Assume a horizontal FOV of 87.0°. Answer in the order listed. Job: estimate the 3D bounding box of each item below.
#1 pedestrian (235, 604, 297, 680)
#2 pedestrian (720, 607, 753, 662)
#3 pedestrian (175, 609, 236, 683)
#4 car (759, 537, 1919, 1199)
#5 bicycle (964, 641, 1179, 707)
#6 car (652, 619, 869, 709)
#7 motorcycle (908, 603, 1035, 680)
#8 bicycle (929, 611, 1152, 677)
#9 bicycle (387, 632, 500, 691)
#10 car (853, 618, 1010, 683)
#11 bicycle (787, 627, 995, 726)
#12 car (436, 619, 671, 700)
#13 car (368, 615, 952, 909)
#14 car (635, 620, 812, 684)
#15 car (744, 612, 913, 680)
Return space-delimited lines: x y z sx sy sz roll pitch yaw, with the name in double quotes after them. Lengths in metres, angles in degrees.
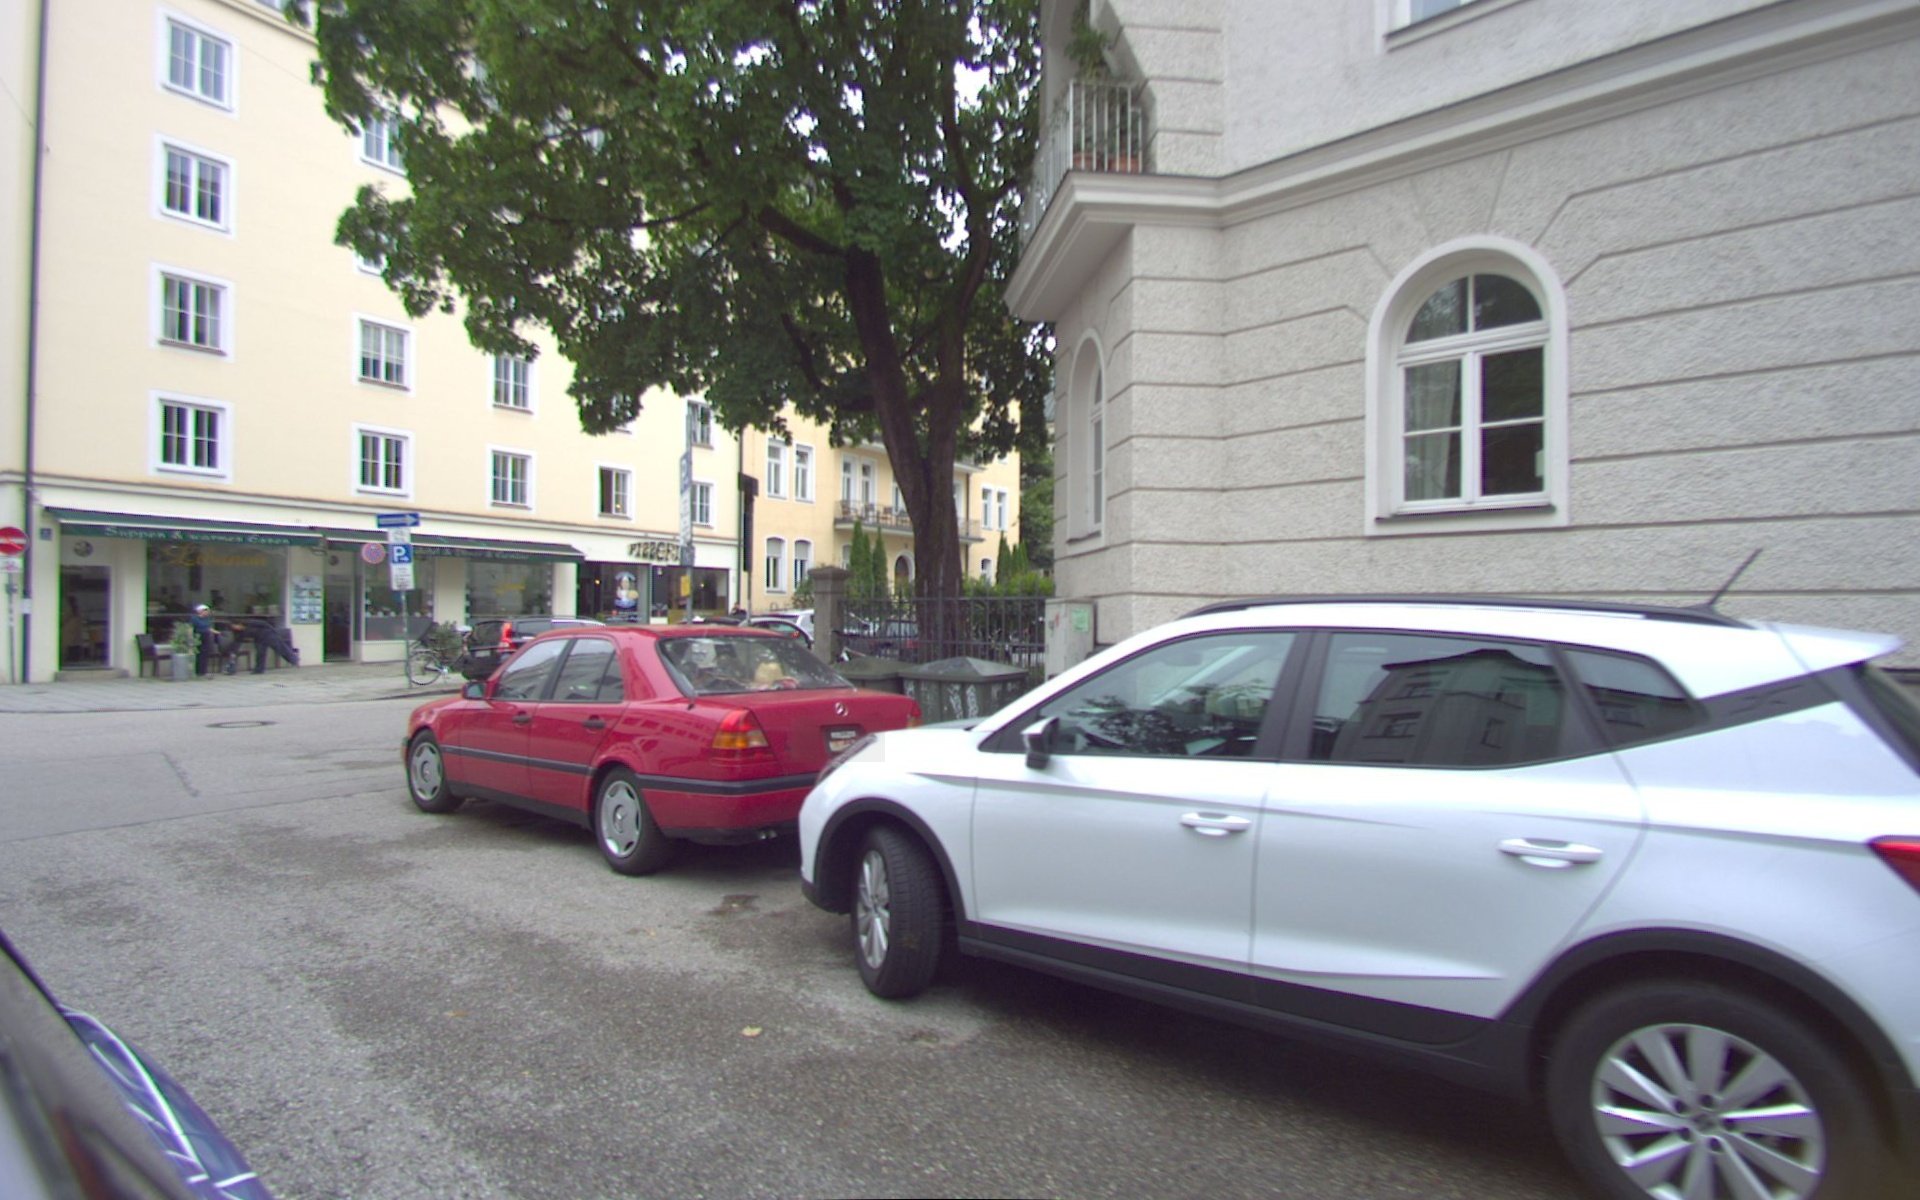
-16.045 0.957 23.391 1.107 1.689 0.872 1 -2 -39 "pedestrian"
-7.366 1.141 33.409 0.847 1.803 0.777 0 -1 8 "pedestrian"
-17.047 1.030 22.883 0.907 1.623 0.778 0 -1 -18 "pedestrian"
1.255 0.678 3.546 3.945 1.580 1.678 0 -1 38 "car"
1.601 1.061 15.125 3.209 0.864 0.811 -1 -1 35 "bicycle"
-3.660 1.111 19.194 1.789 1.469 3.955 1 0 33 "car"
0.260 0.712 18.124 0.813 1.281 2.727 -1 -1 38 "motorcycle"
1.073 0.597 14.390 3.209 0.864 0.799 -1 -1 35 "bicycle"
-11.178 1.326 21.956 2.117 1.211 0.813 2 -2 -29 "bicycle"
-0.572 1.106 23.612 1.789 1.371 3.955 0 -1 33 "car"
-0.914 0.941 13.027 2.637 1.172 0.800 -1 -1 26 "bicycle"
-8.760 1.248 22.202 2.021 1.494 4.443 -6 -4 30 "car"
-2.290 0.833 6.957 4.475 1.403 1.664 -1 -2 40 "car"
-6.079 1.319 26.516 1.992 1.438 4.385 -6 -4 30 "car"
-3.165 1.088 25.271 1.829 1.534 4.446 -1 -1 31 "car"
